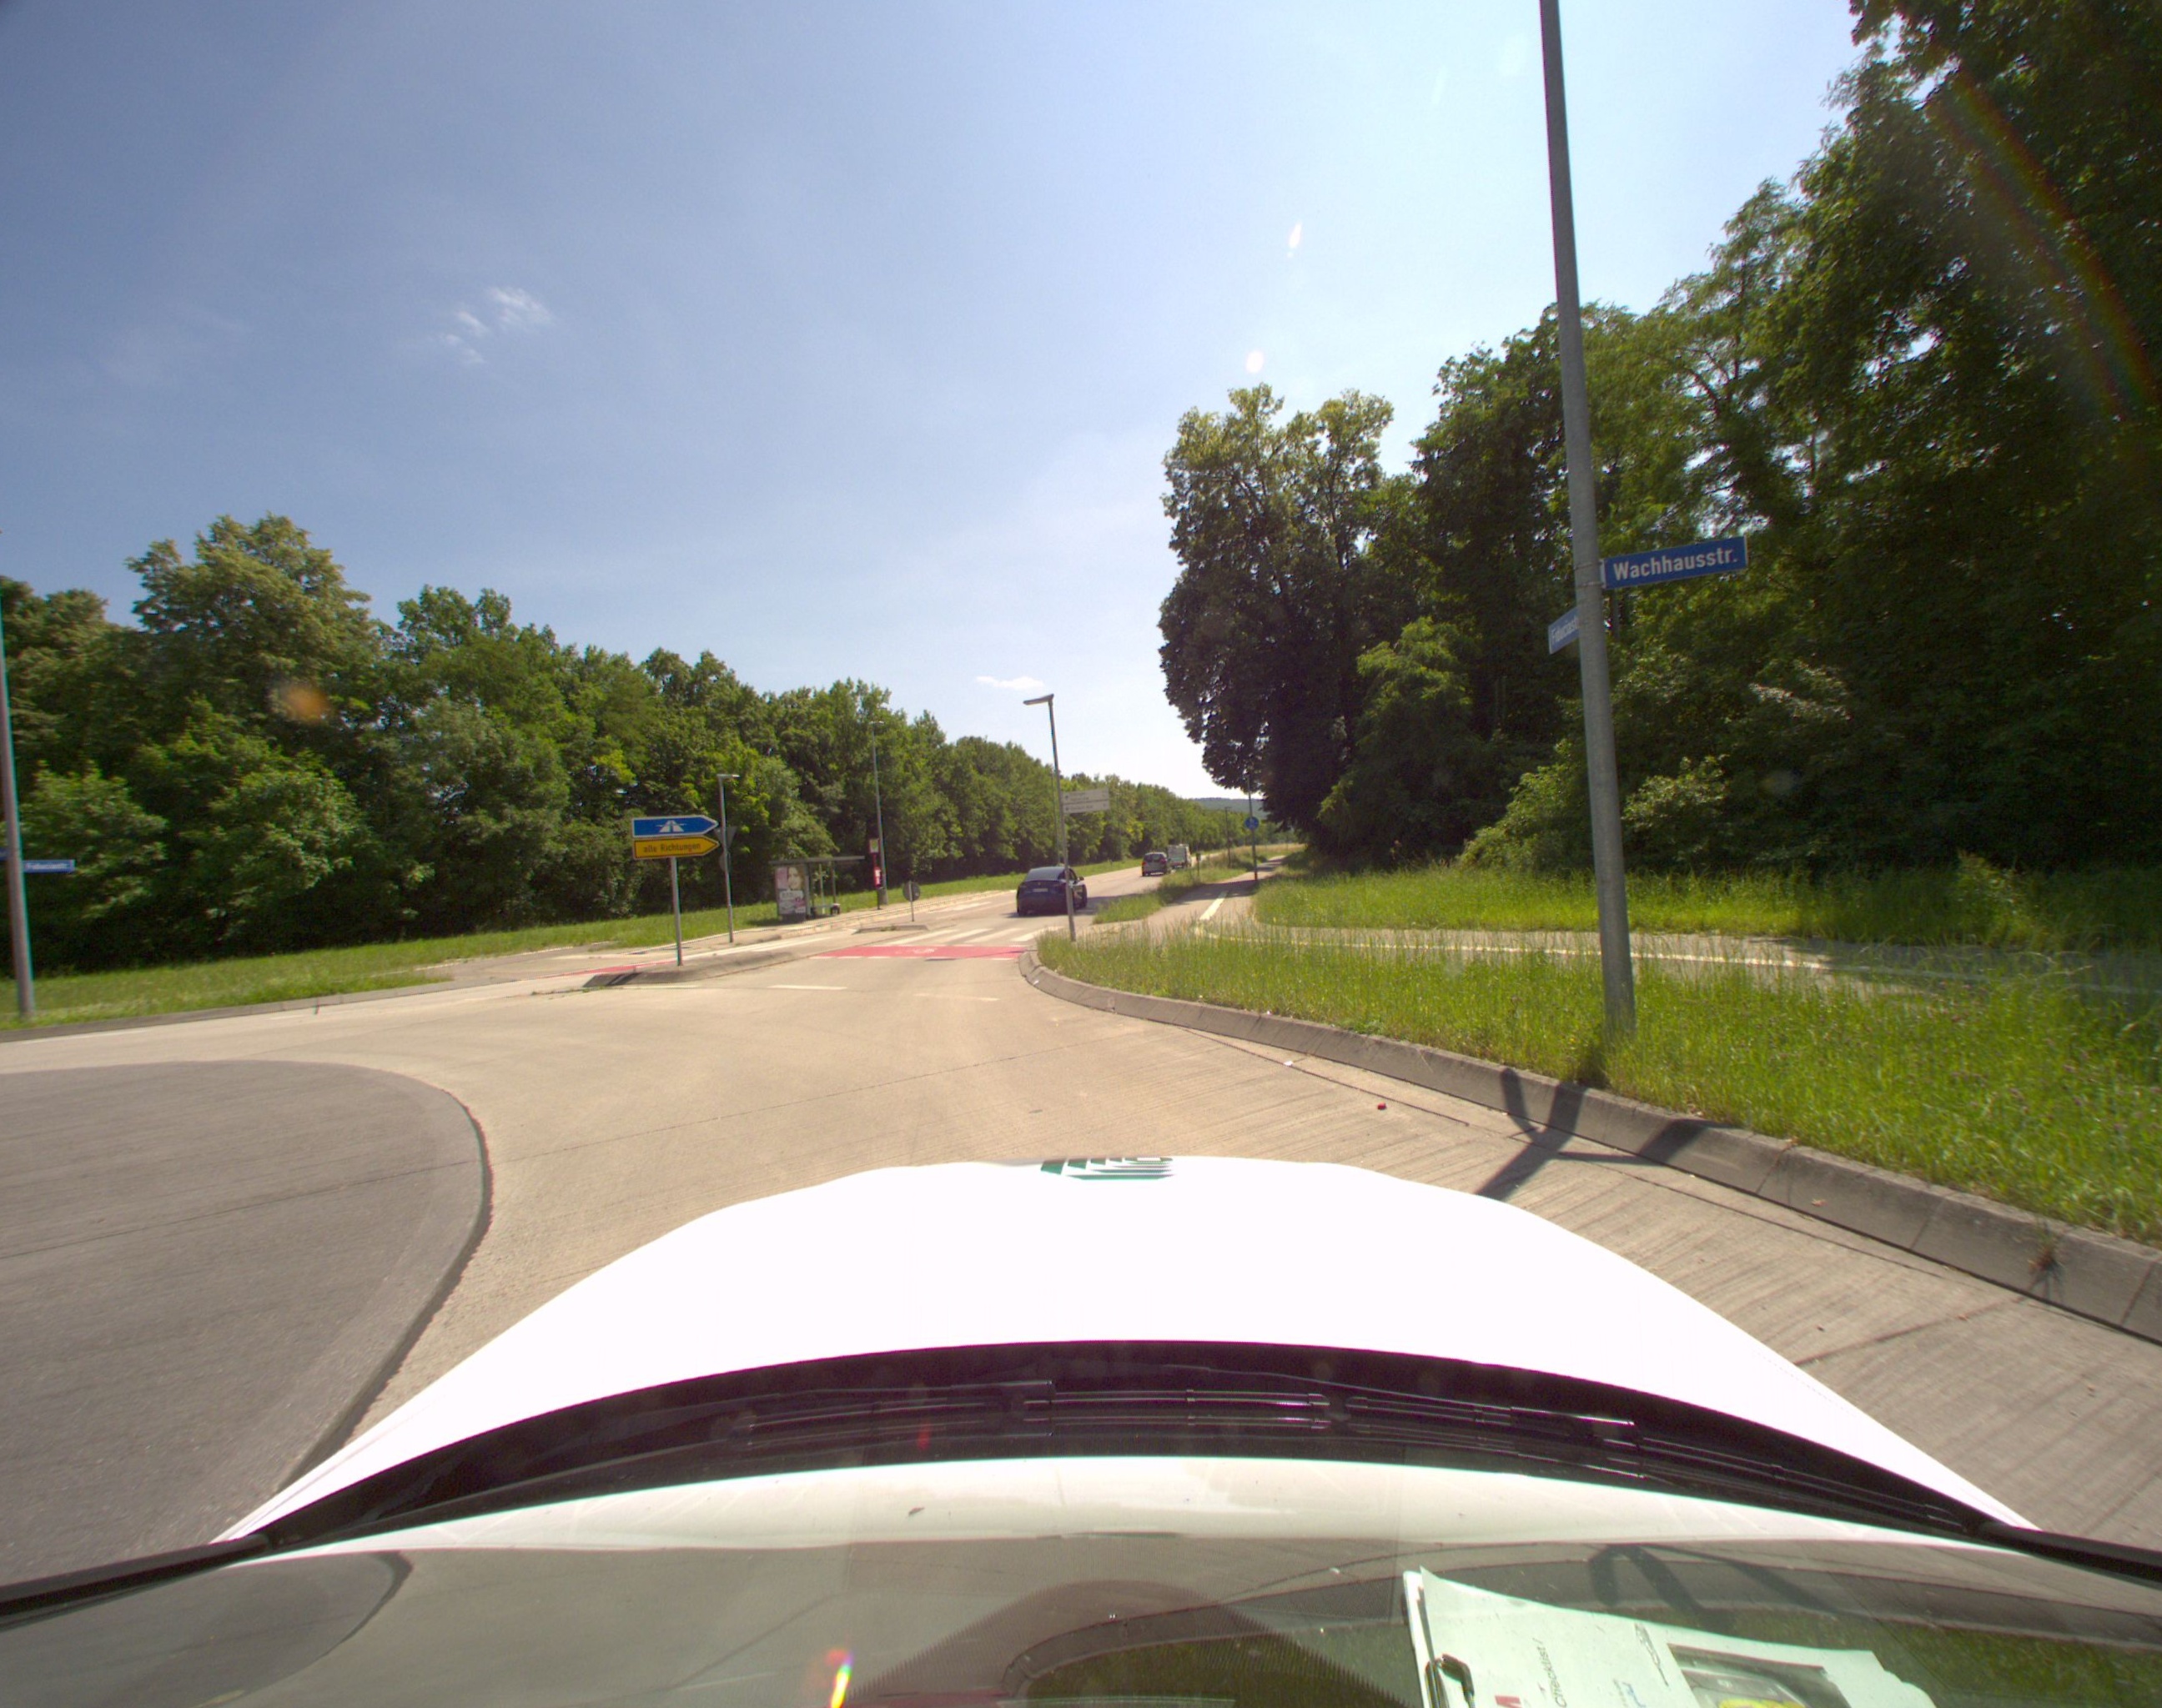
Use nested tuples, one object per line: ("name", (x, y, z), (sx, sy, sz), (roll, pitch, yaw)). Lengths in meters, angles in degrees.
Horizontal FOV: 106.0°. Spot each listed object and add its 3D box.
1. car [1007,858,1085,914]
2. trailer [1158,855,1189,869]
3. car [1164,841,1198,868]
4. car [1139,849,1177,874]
("car", (-1.139, 1.056, 29.171), (1.983, 1.639, 4.766), (-4, 0, 6))
("trailer", (8.146, 0.686, 71.506), (2.105, 1.097, 3.370), (-3, 0, 17))
("car", (9.323, 0.024, 75.510), (2.149, 2.316, 5.004), (-3, 0, 17))
("car", (5.494, 0.521, 57.646), (1.770, 1.606, 4.147), (-3, 0, 18))
